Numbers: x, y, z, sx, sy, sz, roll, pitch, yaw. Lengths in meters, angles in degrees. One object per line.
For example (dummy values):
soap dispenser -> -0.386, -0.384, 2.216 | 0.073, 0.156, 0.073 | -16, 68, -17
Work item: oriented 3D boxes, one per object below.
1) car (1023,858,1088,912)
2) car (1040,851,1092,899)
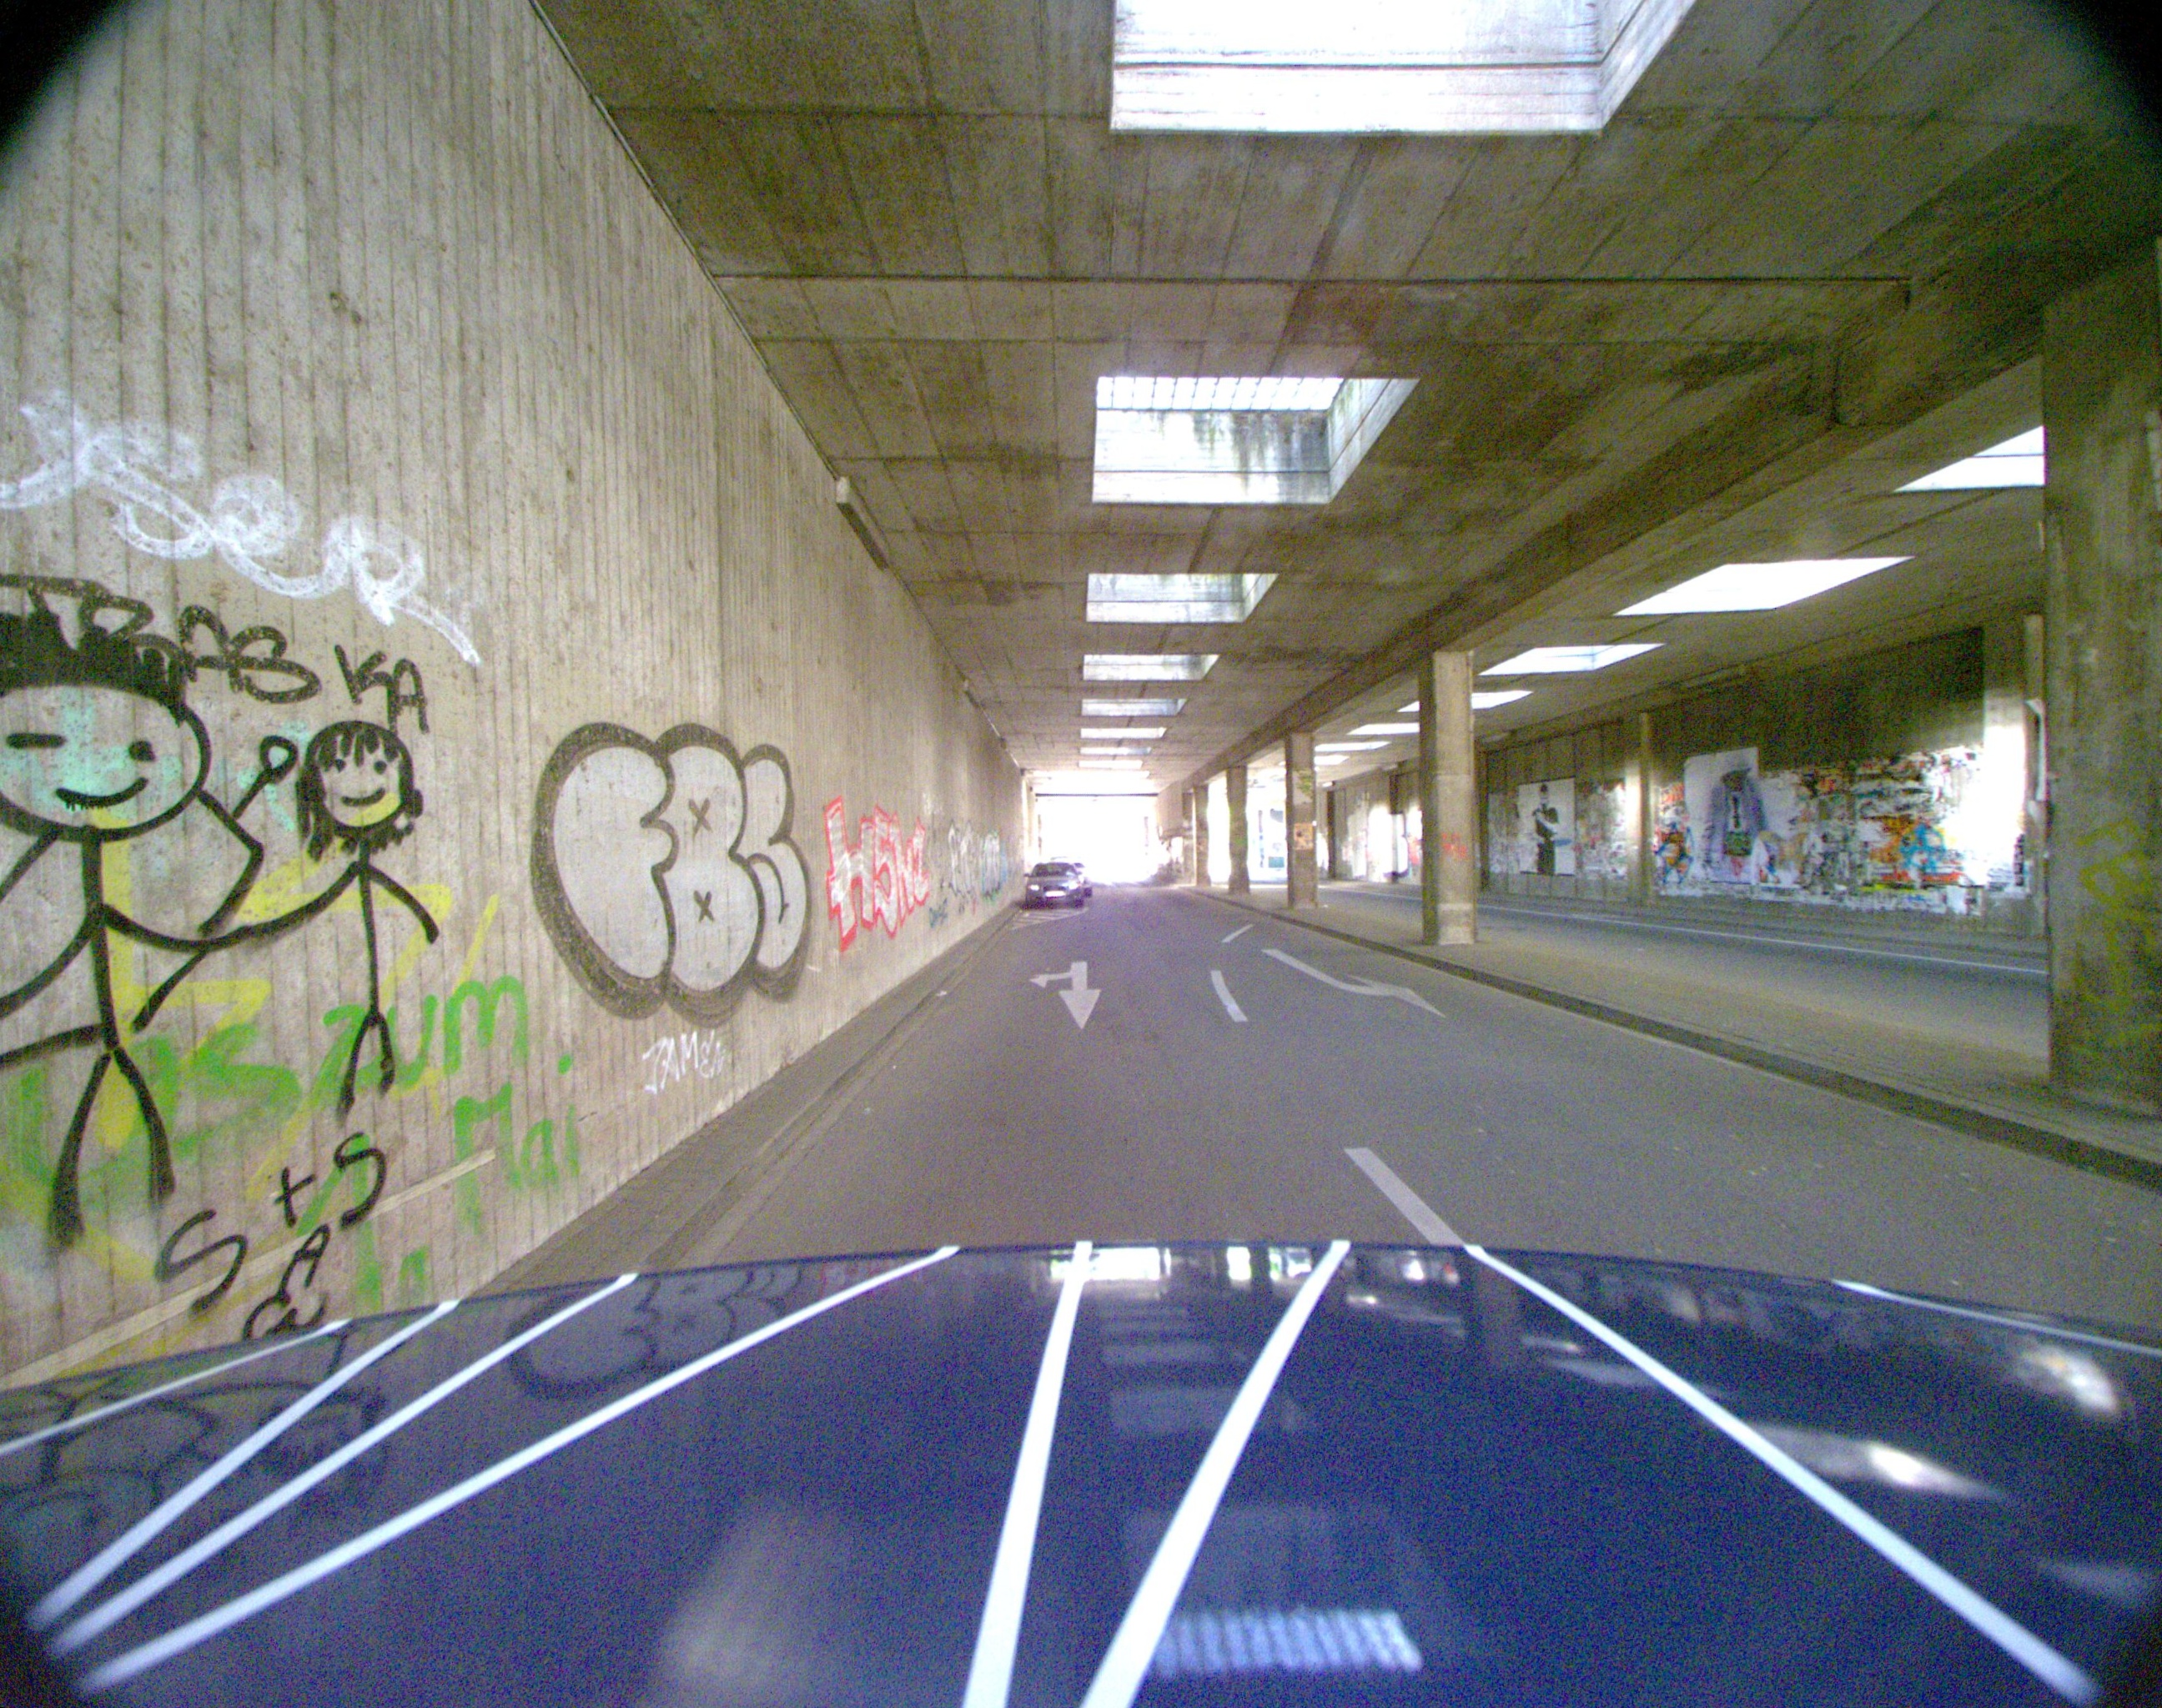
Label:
car -> -0.727, 0.910, 24.055 | 1.808, 1.460, 4.000 | -2, 0, 1
car -> -0.522, 0.758, 29.856 | 1.861, 1.709, 4.000 | -2, 0, 1
